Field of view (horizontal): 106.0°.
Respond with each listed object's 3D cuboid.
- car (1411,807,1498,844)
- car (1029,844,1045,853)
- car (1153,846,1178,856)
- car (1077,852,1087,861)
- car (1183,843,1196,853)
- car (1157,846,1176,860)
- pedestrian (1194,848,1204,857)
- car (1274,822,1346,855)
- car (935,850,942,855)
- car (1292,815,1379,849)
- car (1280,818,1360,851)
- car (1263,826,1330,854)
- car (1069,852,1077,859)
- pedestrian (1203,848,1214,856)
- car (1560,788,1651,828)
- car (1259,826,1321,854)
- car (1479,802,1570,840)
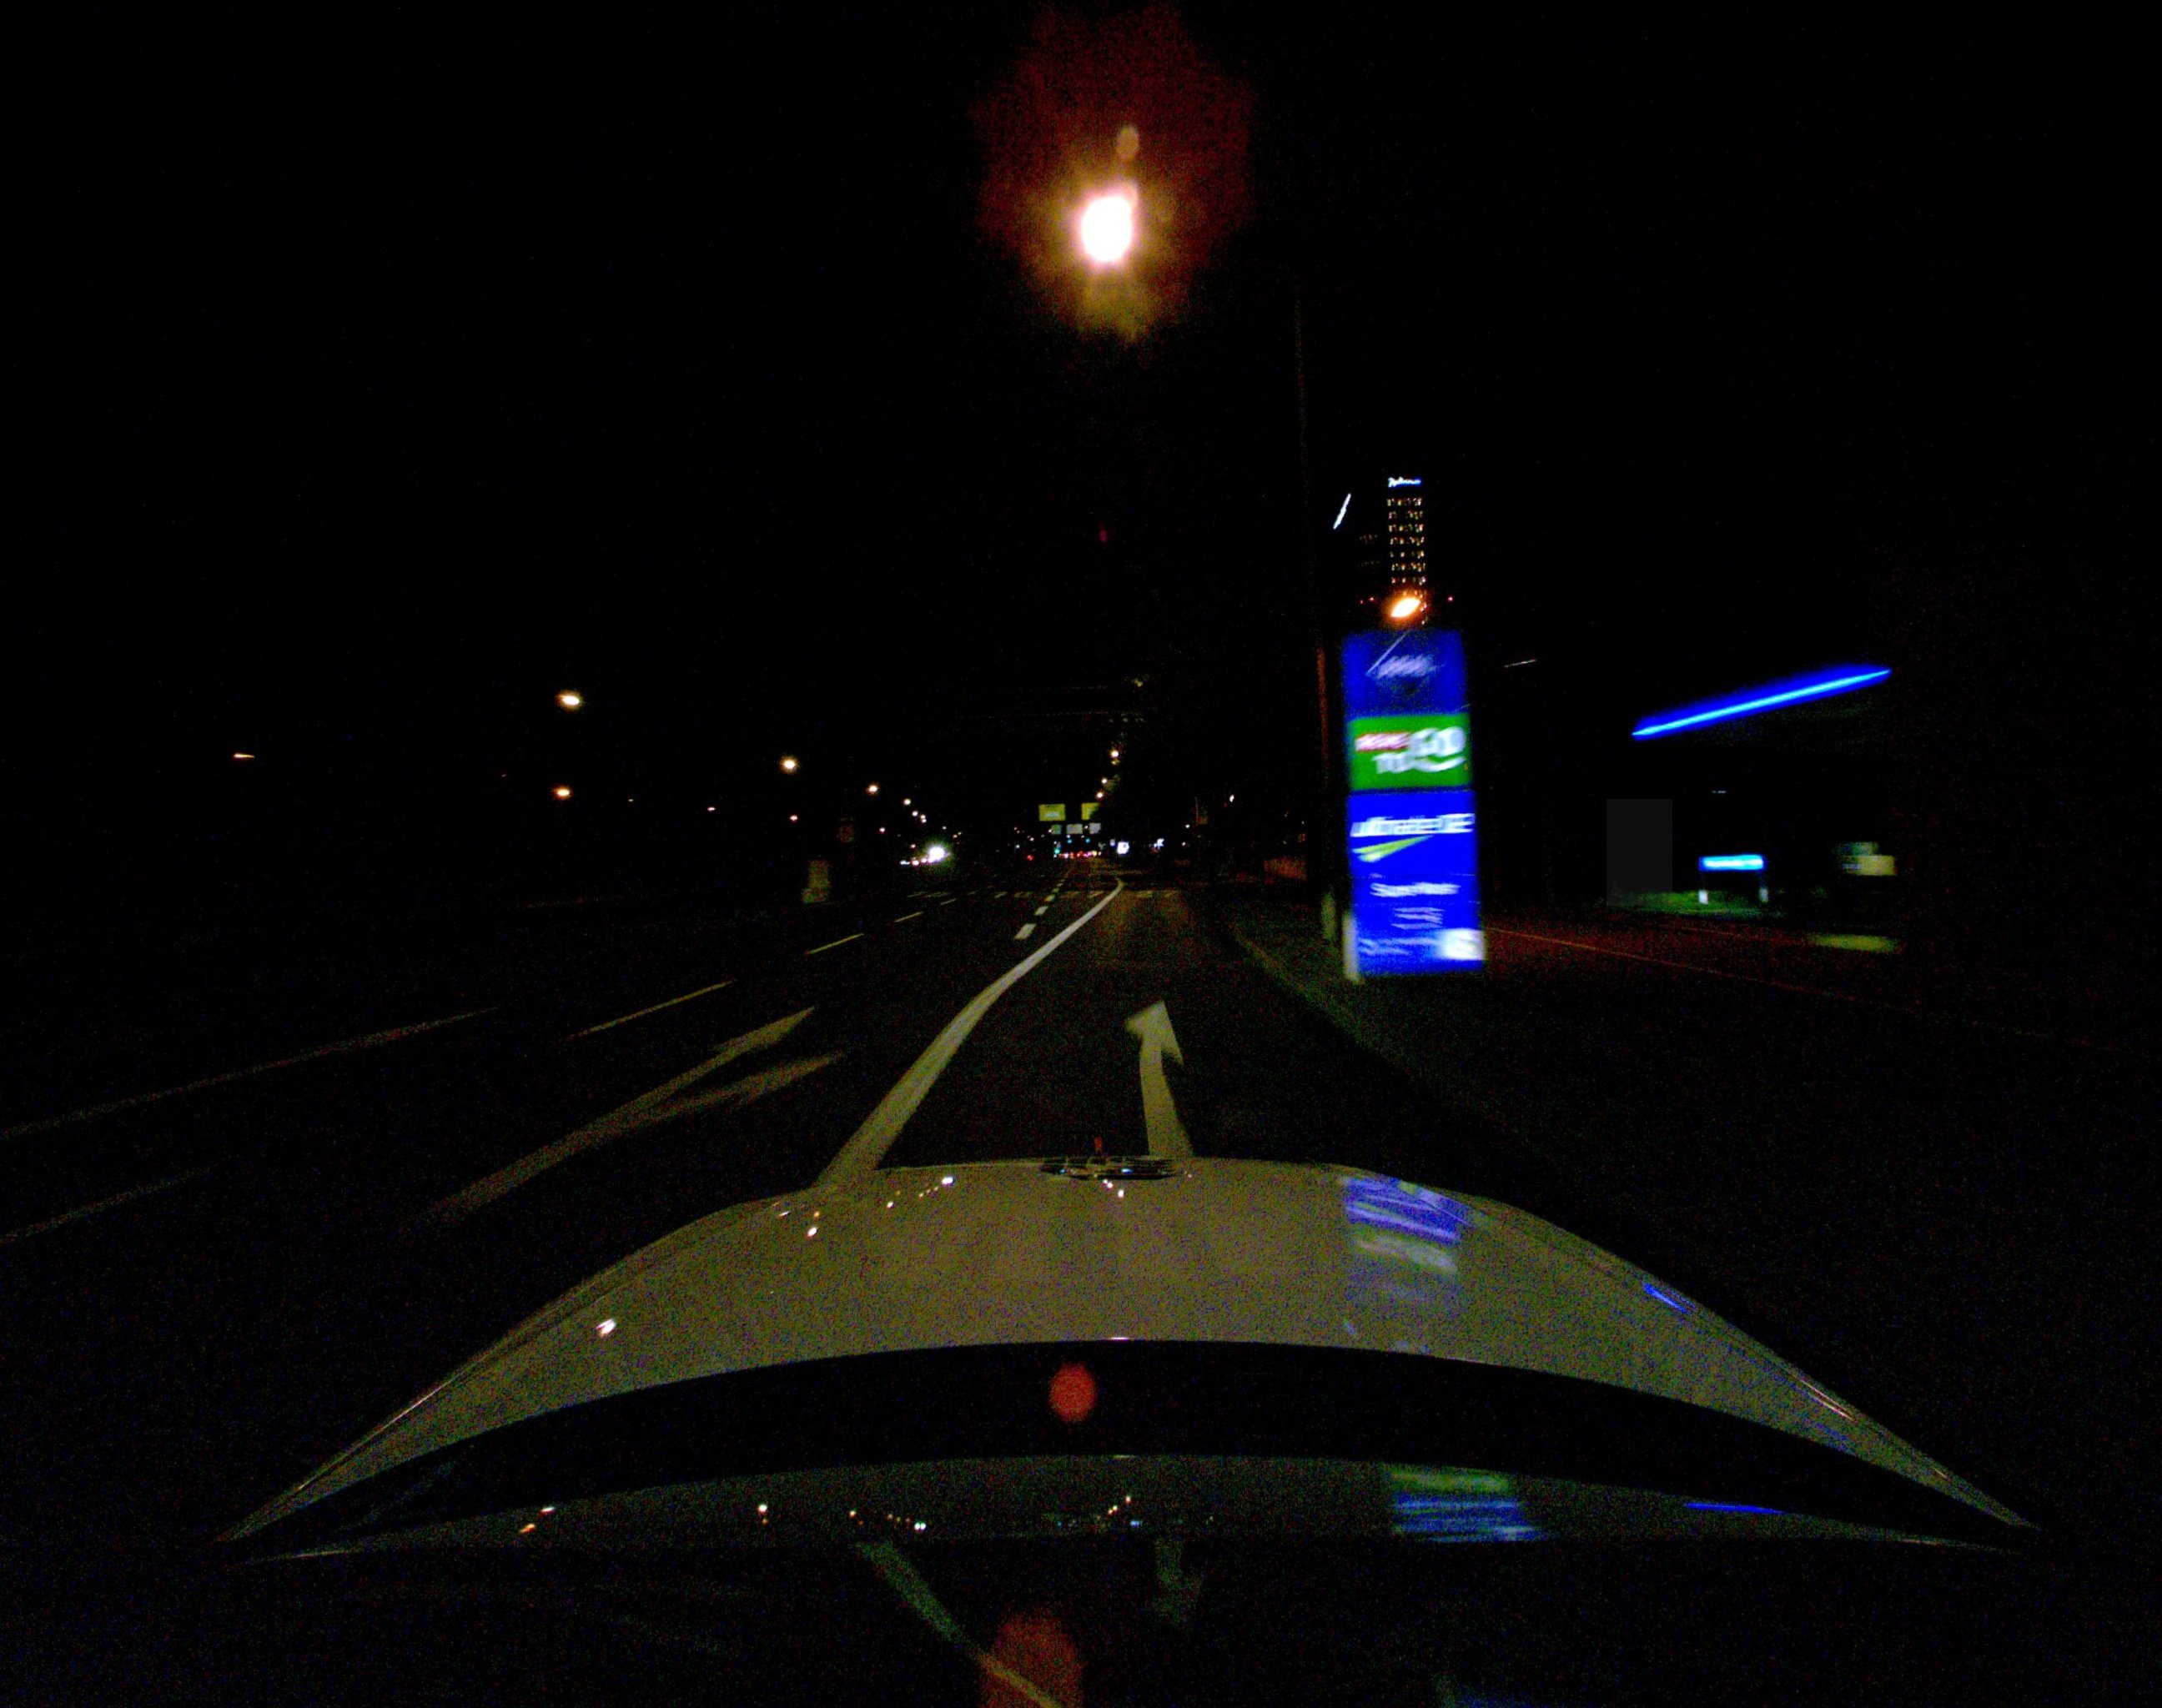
[{"bbox_3d":[22.511,-1.688,49.238,4.343,1.725,1.752,-5,-2,2],"label":"car"},{"bbox_3d":[-9.555,-1.222,175.573,1.980,1.711,3.962,1,-2,-29],"label":"car"},{"bbox_3d":[13.154,-0.489,127.148,3.617,1.451,1.705,0,-1,-4],"label":"car"},{"bbox_3d":[0.239,0.563,164.173,1.960,1.711,4.002,0,-1,2],"label":"car"},{"bbox_3d":[17.154,-0.896,128.957,1.882,1.511,3.643,0,-1,7],"label":"car"},{"bbox_3d":[12.805,-0.101,121.856,1.978,1.945,4.018,-1,-1,17],"label":"car"},{"bbox_3d":[14.407,-0.188,99.655,0.902,1.038,0.776,-3,-1,43],"label":"pedestrian"},{"bbox_3d":[13.732,-0.897,49.029,3.737,1.587,1.779,-5,-2,-2],"label":"car"},{"bbox_3d":[-42.774,-0.347,244.394,1.620,1.481,3.679,0,-1,1],"label":"car"},{"bbox_3d":[13.765,-1.161,44.195,4.104,1.522,1.823,-3,-2,1],"label":"car"},{"bbox_3d":[13.583,-1.105,46.488,3.972,1.571,1.739,-4,-2,1],"label":"car"},{"bbox_3d":[13.592,-0.890,51.498,3.715,1.489,1.741,-4,-2,-2],"label":"car"},{"bbox_3d":[-2.150,0.418,218.326,1.997,1.552,4.297,0,-1,2],"label":"car"},{"bbox_3d":[15.600,-0.211,99.614,0.999,1.008,0.767,0,-2,-16],"label":"pedestrian"},{"bbox_3d":[28.417,-2.470,44.207,3.801,1.895,1.750,-2,-1,-3],"label":"car"},{"bbox_3d":[13.945,-0.902,54.412,3.555,1.570,1.724,-4,-1,-5],"label":"car"},{"bbox_3d":[22.513,-1.646,41.453,3.625,1.470,1.638,-5,-2,3],"label":"car"}]
